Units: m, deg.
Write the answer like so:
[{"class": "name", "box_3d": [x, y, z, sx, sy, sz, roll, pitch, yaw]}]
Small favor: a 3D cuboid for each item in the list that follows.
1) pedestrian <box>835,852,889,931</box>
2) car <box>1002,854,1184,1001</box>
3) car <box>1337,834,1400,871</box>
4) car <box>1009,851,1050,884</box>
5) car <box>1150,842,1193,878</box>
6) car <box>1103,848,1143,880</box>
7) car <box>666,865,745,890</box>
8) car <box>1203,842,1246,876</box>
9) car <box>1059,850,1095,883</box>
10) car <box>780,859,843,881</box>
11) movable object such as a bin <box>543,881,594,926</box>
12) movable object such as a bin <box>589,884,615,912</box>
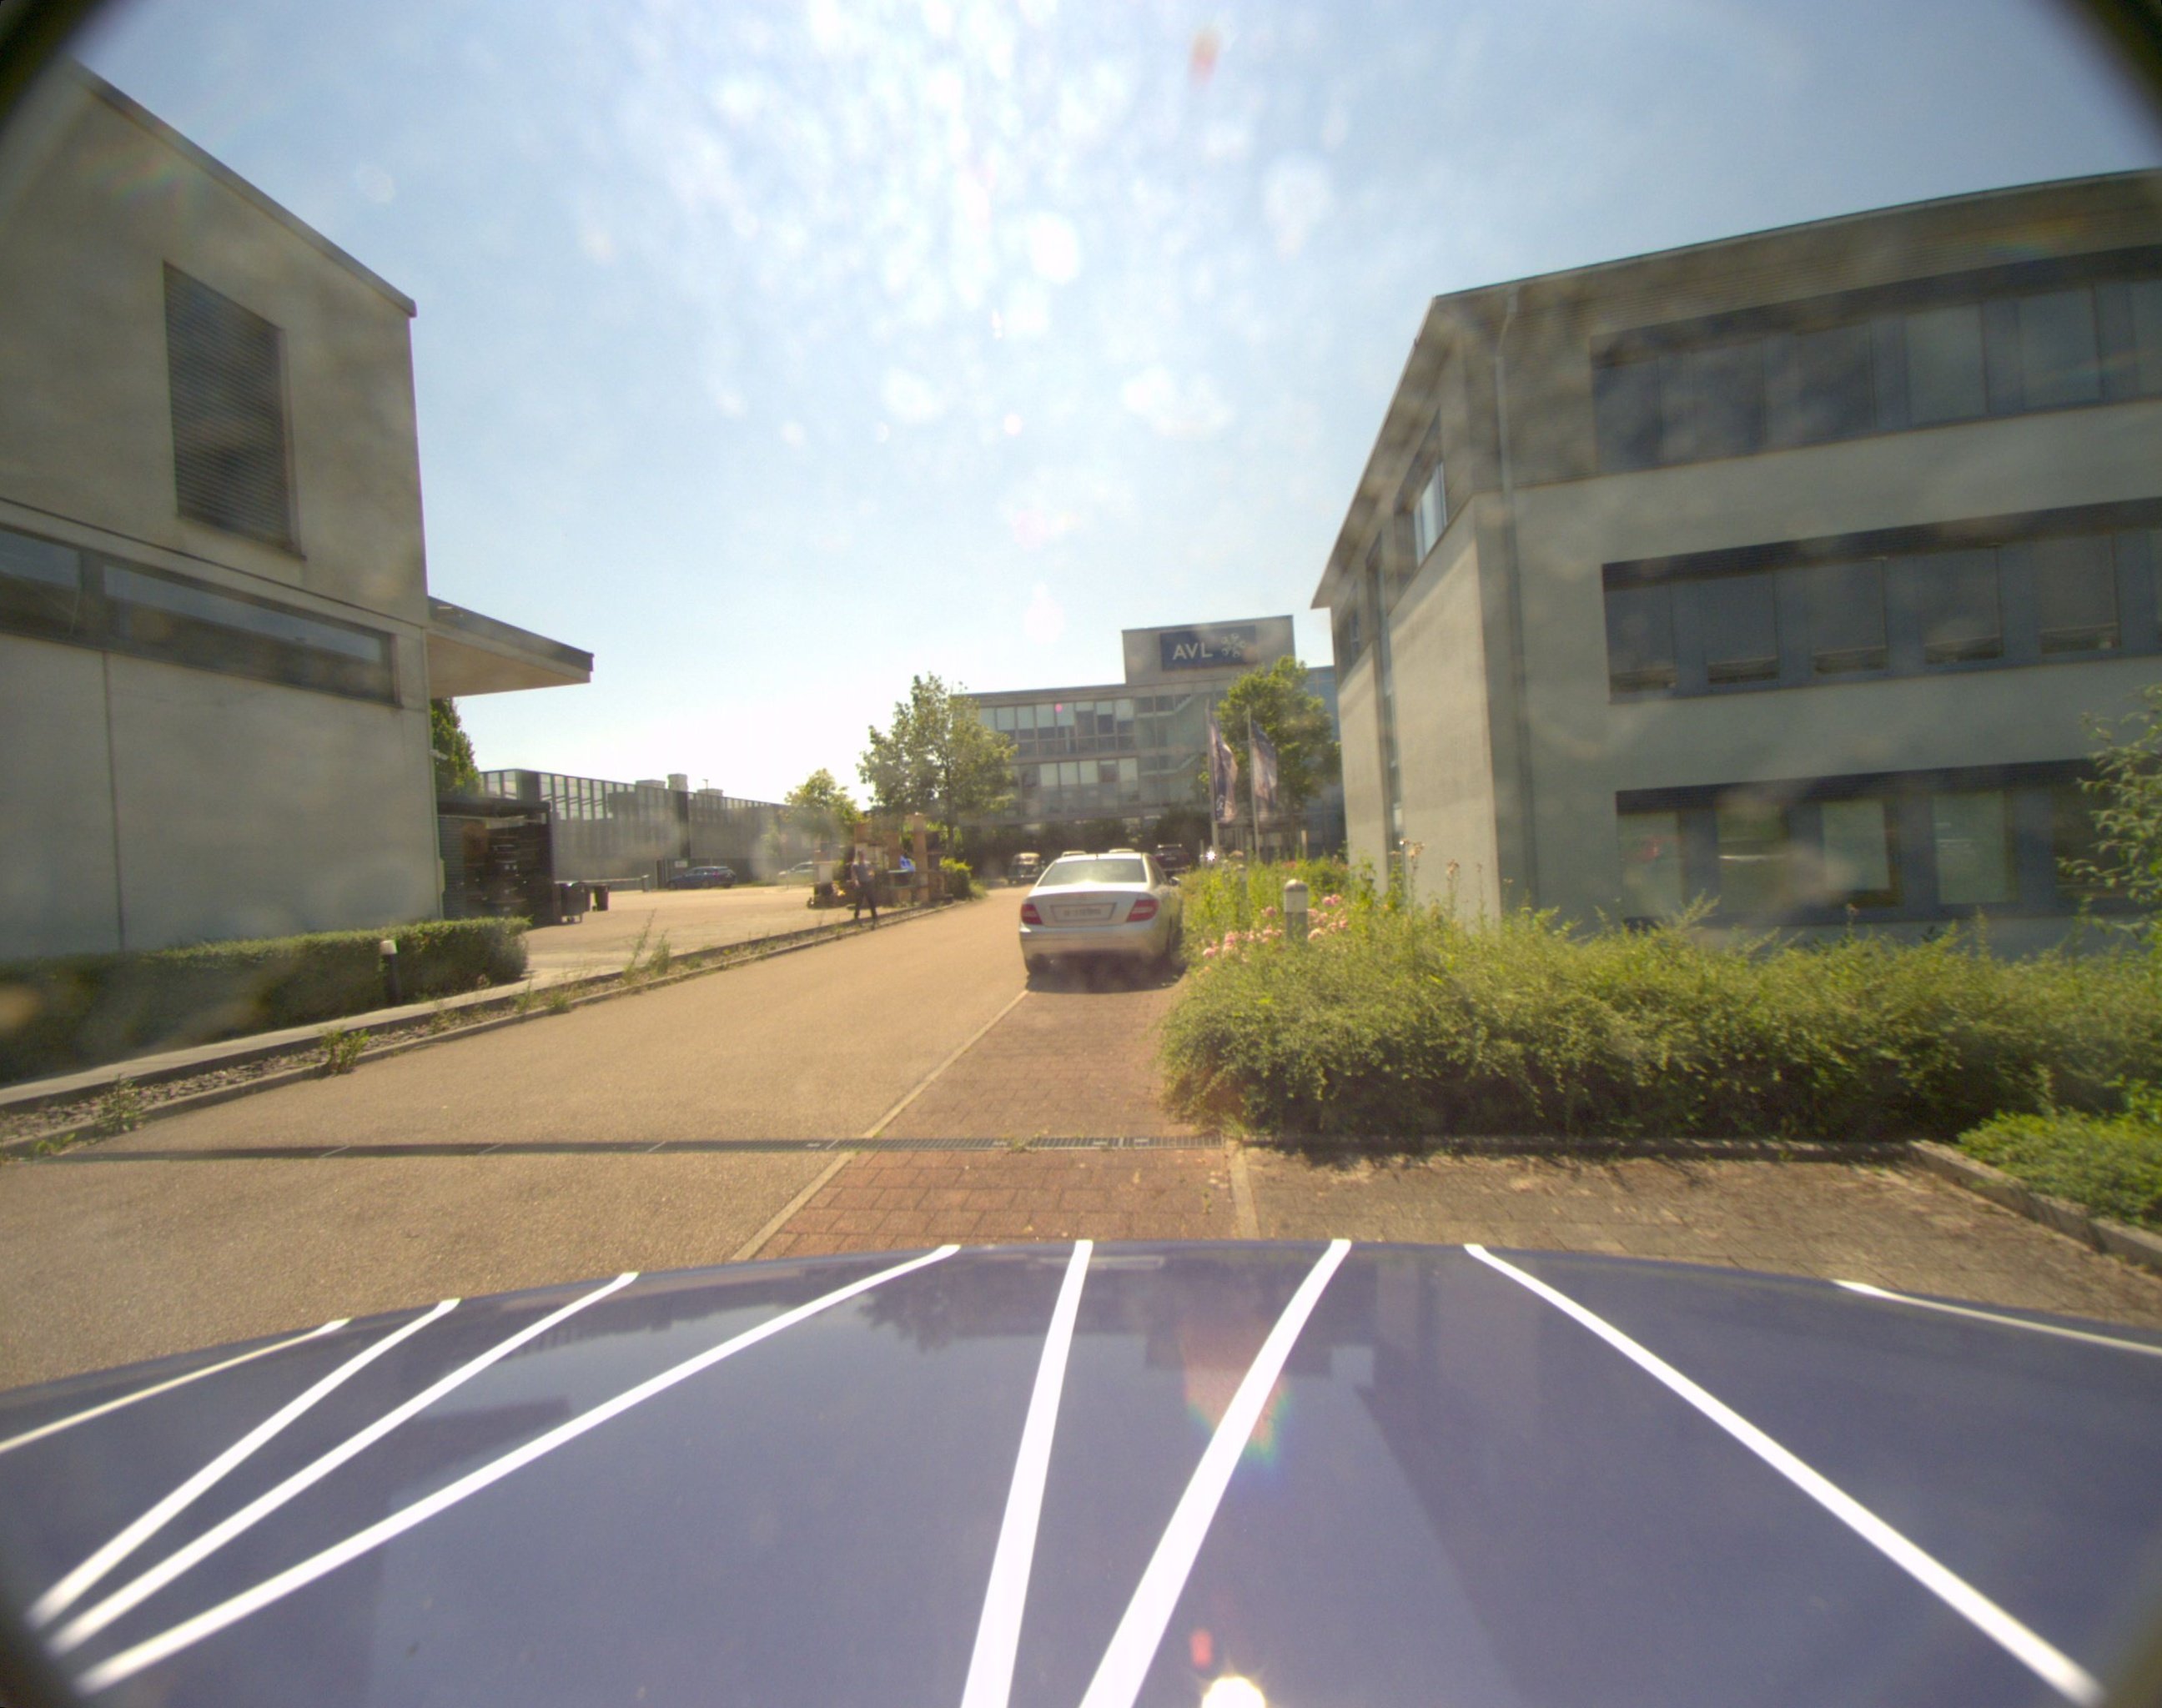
[{"class": "pedestrian", "box_3d": [-5.136, 0.868, 17.852, 0.767, 1.759, 0.810, -2, 3, 37]}, {"class": "car", "box_3d": [0.395, 0.802, 10.138, 1.732, 1.448, 4.150, -2, 1, 10]}, {"class": "car", "box_3d": [13.666, -0.093, 36.379, 1.831, 1.628, 4.173, -2, 1, 7]}, {"class": "car", "box_3d": [-2.501, 0.637, 37.573, 1.521, 1.437, 3.419, -2, 1, 3]}, {"class": "car", "box_3d": [4.412, 0.273, 37.390, 1.937, 1.593, 3.860, -2, 1, 5]}, {"class": "car", "box_3d": [2.031, 0.461, 37.877, 1.731, 1.444, 3.600, -2, 1, 0]}, {"class": "car", "box_3d": [-23.973, 1.501, 48.514, 4.437, 1.401, 1.862, -3, 1, 20]}, {"class": "car", "box_3d": [6.959, 0.192, 37.091, 1.729, 1.476, 4.399, -3, 1, 7]}, {"class": "car", "box_3d": [-0.208, 0.567, 37.500, 1.642, 1.444, 3.600, -2, 1, 0]}, {"class": "car", "box_3d": [-20.418, 1.190, 57.569, 4.405, 1.467, 1.783, -2, 1, 23]}, {"class": "movable object such as a bin", "box_3d": [-15.075, 1.453, 22.352, 0.875, 1.242, 0.802, -2, 2, 15]}, {"class": "movable object such as a bin", "box_3d": [-16.834, 1.550, 26.723, 0.586, 0.912, 0.547, -3, 2, -18]}]
